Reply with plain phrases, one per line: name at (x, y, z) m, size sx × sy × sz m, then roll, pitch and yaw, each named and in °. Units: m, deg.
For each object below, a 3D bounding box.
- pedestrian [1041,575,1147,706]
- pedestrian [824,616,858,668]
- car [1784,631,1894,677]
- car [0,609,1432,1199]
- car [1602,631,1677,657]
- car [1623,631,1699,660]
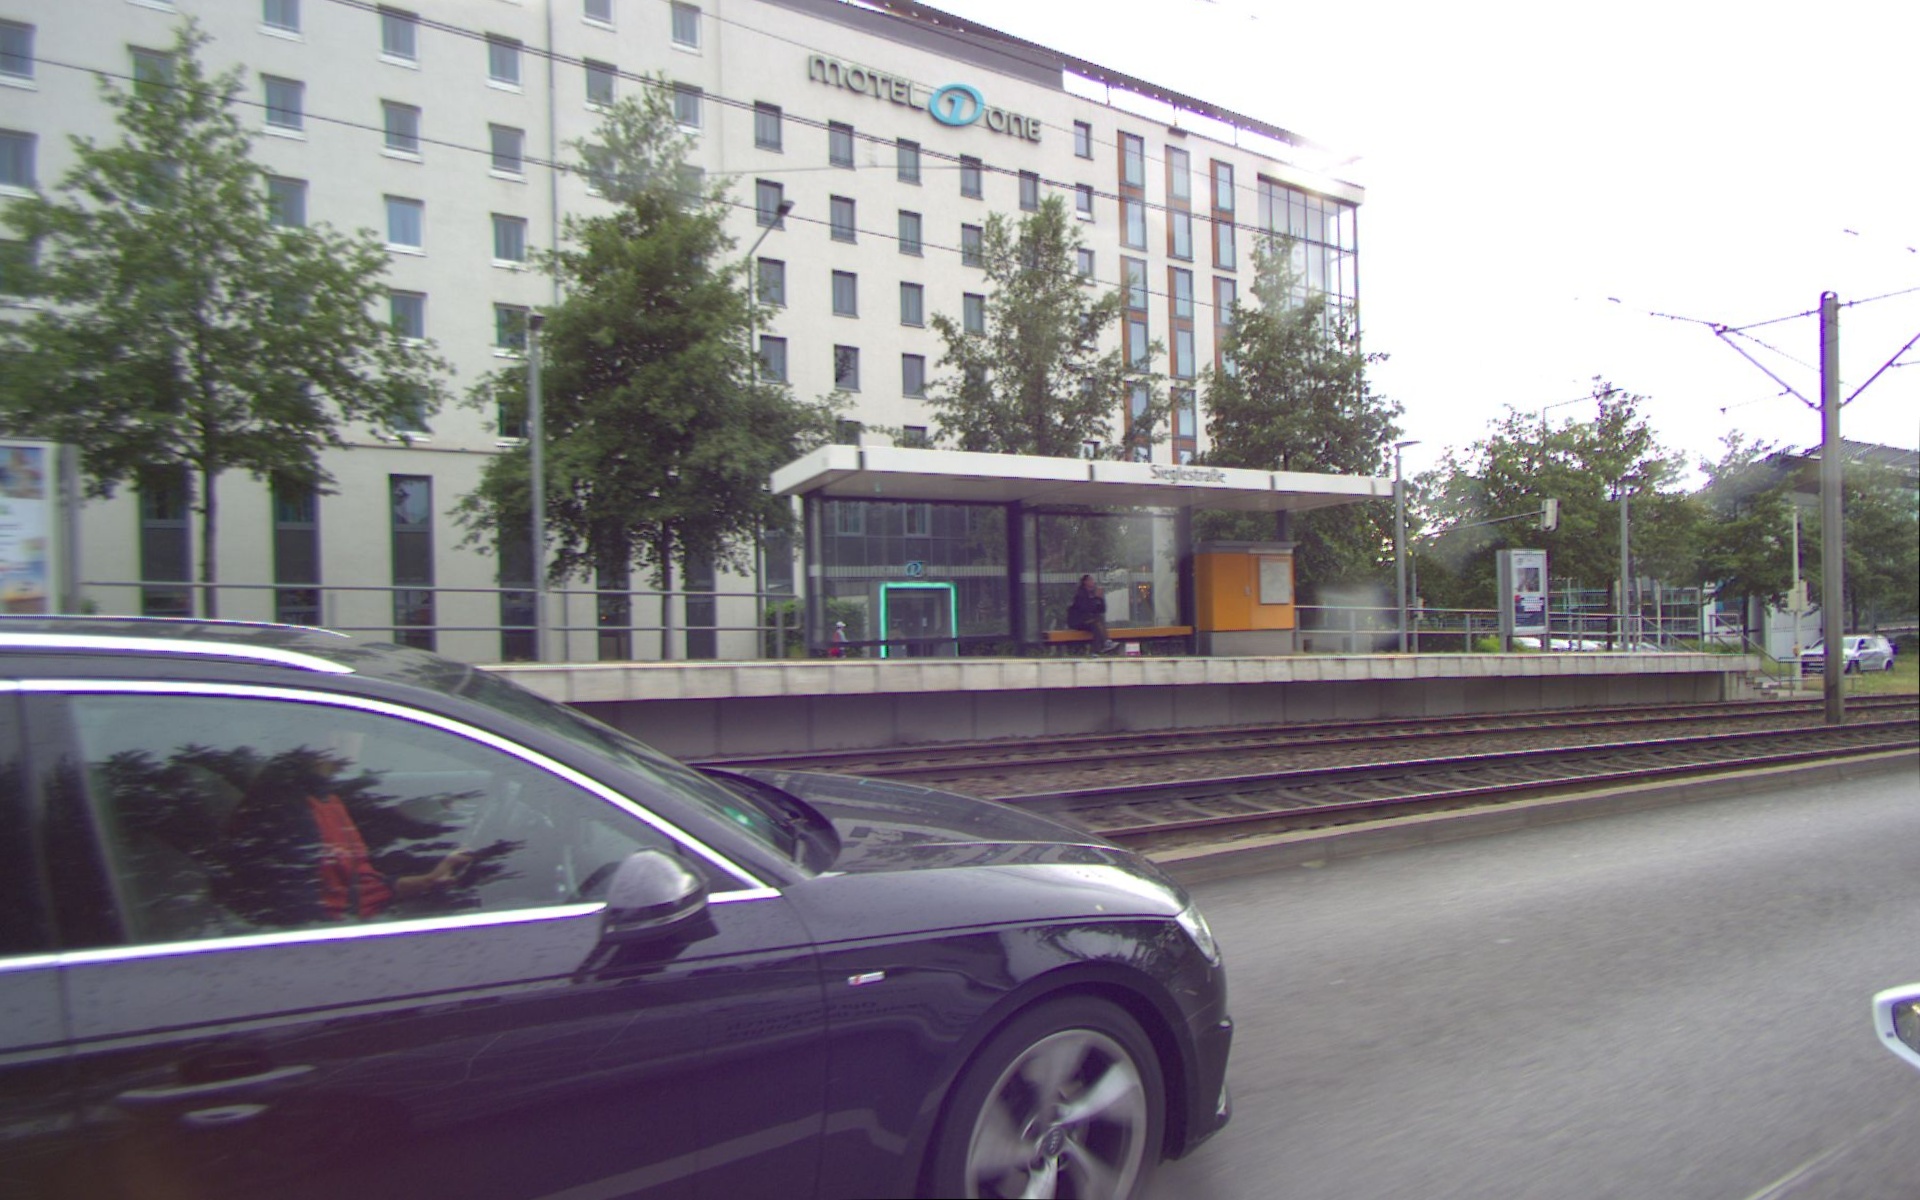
pedestrian at (2.187, 0.647, 16.459) m, size 1.255 × 2.040 × 1.121 m, roll 2°, pitch 0°, yaw -29°
pedestrian at (-3.733, 1.312, 31.520) m, size 0.825 × 1.599 × 0.597 m, roll 2°, pitch 0°, yaw -31°
car at (37.032, 2.243, 42.308) m, size 4.943 × 1.871 × 1.985 m, roll 1°, pitch -3°, yaw -30°
car at (-1.269, 0.763, 2.228) m, size 4.770 × 1.453 × 1.782 m, roll 1°, pitch -1°, yaw -30°
car at (47.221, 3.055, 69.900) m, size 1.617 × 1.639 × 4.038 m, roll 2°, pitch 0°, yaw -27°
car at (49.631, 3.180, 71.183) m, size 1.839 × 1.861 × 4.056 m, roll 2°, pitch 0°, yaw -27°
